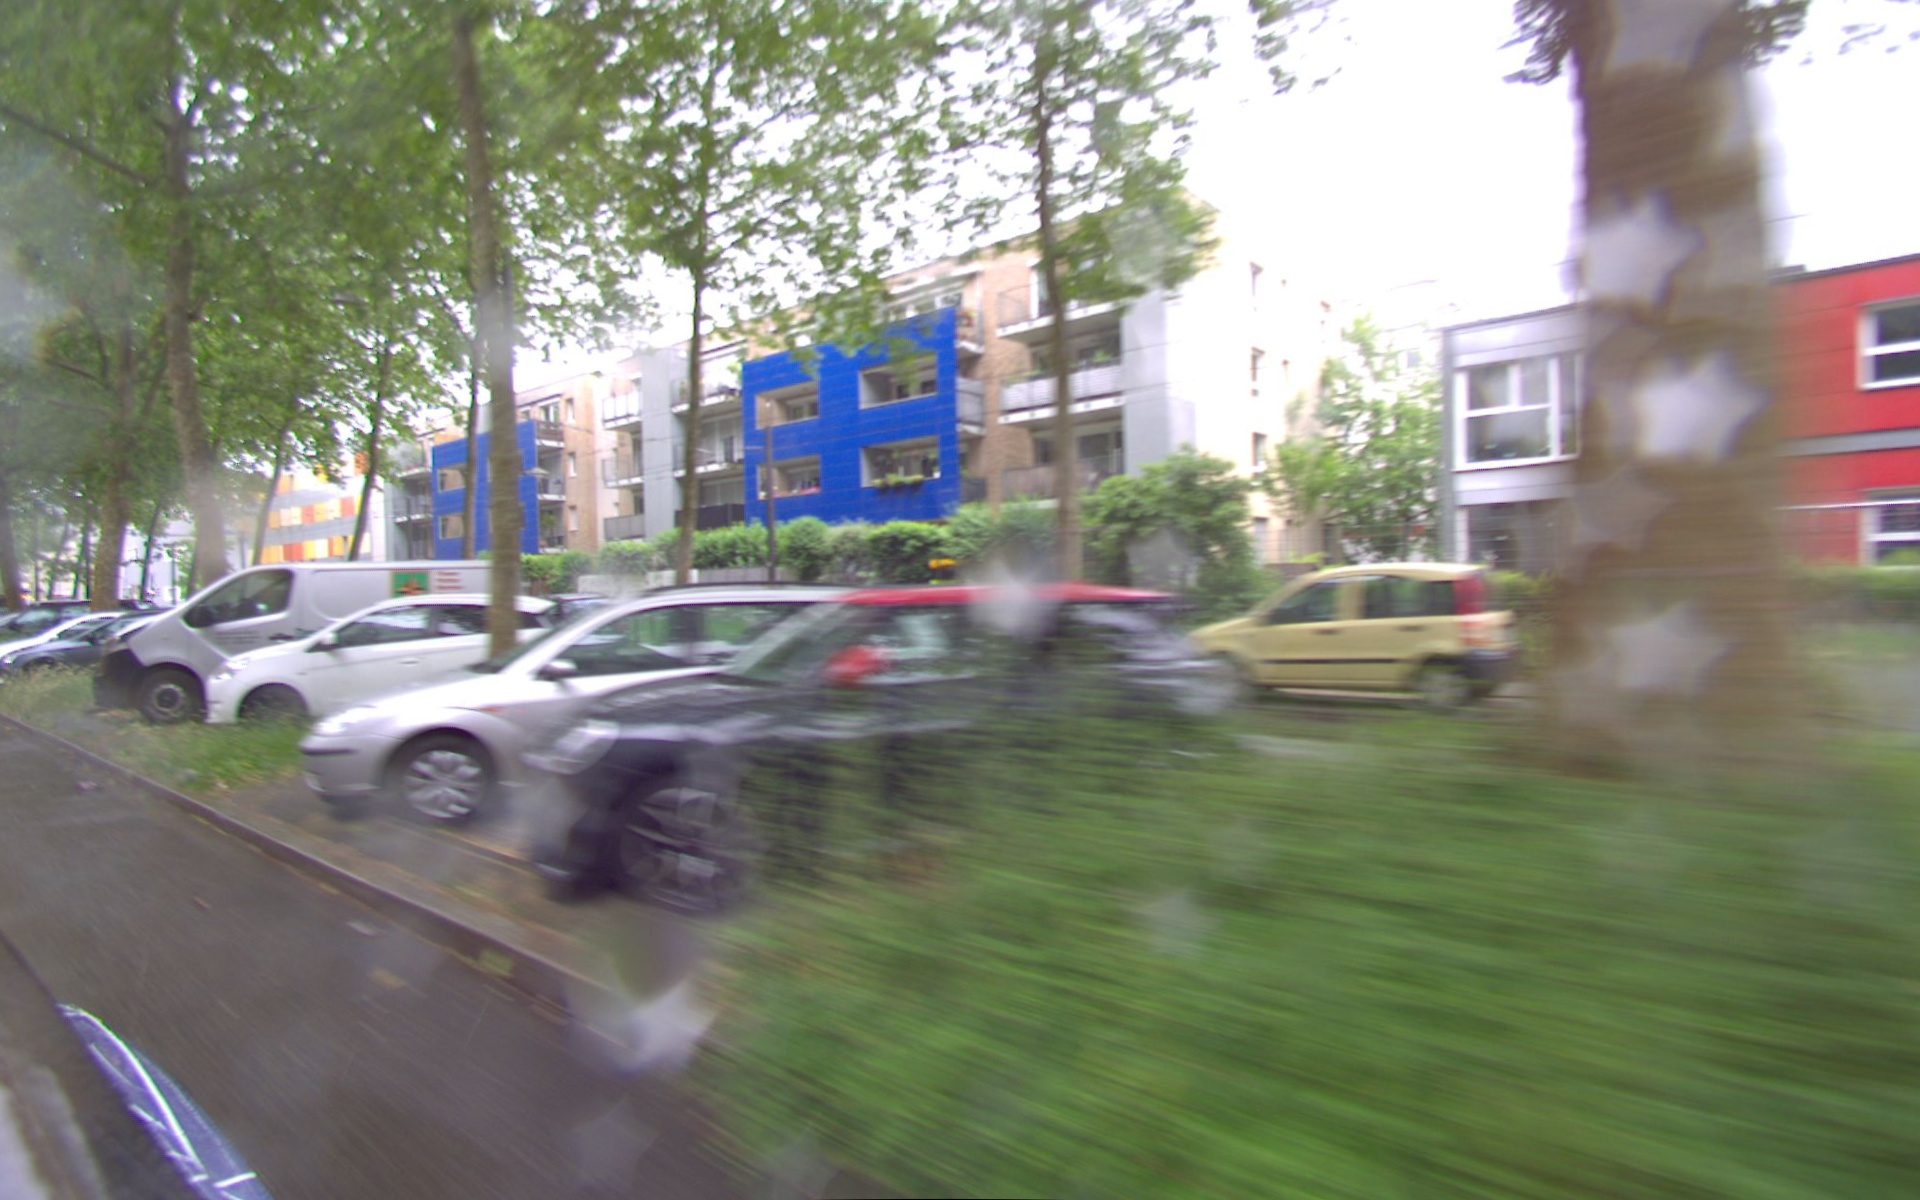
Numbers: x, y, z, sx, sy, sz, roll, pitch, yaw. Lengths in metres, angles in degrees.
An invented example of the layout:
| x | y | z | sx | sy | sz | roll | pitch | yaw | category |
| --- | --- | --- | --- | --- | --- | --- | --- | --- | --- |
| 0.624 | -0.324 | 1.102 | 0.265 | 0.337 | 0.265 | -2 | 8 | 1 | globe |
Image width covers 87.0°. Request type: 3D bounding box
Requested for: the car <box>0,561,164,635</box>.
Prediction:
| x | y | z | sx | sy | sz | roll | pitch | yaw | category |
| --- | --- | --- | --- | --- | --- | --- | --- | --- | --- |
| -22.210 | -0.042 | 24.389 | 4.342 | 1.672 | 1.936 | -2 | 1 | -22 | car |

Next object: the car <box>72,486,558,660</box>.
| x | y | z | sx | sy | sz | roll | pitch | yaw | category |
| --- | --- | --- | --- | --- | --- | --- | --- | --- | --- |
| -8.101 | -0.358 | 13.399 | 5.043 | 1.992 | 2.109 | -1 | 1 | -19 | car |

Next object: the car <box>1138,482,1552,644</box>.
| x | y | z | sx | sy | sz | roll | pitch | yaw | category |
| --- | --- | --- | --- | --- | --- | --- | --- | --- | --- |
| 4.284 | -0.388 | 11.554 | 3.998 | 1.519 | 1.973 | 0 | 2 | 41 | car |

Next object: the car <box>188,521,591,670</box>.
| x | y | z | sx | sy | sz | roll | pitch | yaw | category |
| --- | --- | --- | --- | --- | --- | --- | --- | --- | --- |
| -6.234 | -0.081 | 11.549 | 3.721 | 1.493 | 1.728 | -1 | 1 | -18 | car |

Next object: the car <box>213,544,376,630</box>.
| x | y | z | sx | sy | sz | roll | pitch | yaw | category |
| --- | --- | --- | --- | --- | --- | --- | --- | --- | --- |
| -17.524 | -0.347 | 26.553 | 5.022 | 2.028 | 1.975 | 0 | 3 | 38 | car |

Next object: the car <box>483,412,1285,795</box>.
| x | y | z | sx | sy | sz | roll | pitch | yaw | category |
| --- | --- | --- | --- | --- | --- | --- | --- | --- | --- |
| -0.386 | -0.025 | 5.458 | 3.752 | 1.532 | 1.728 | -1 | 1 | -18 | car |

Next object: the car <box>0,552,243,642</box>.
| x | y | z | sx | sy | sz | roll | pitch | yaw | category |
| --- | --- | --- | --- | --- | --- | --- | --- | --- | --- |
| -16.474 | -0.063 | 19.522 | 3.999 | 1.510 | 1.753 | -3 | 1 | -26 | car |

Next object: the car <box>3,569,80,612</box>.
| x | y | z | sx | sy | sz | roll | pitch | yaw | category |
| --- | --- | --- | --- | --- | --- | --- | --- | --- | --- |
| -47.067 | -0.482 | 51.839 | 5.152 | 2.014 | 2.019 | -1 | 2 | 38 | car |

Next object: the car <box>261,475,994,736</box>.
| x | y | z | sx | sy | sz | roll | pitch | yaw | category |
| --- | --- | --- | --- | --- | --- | --- | --- | --- | --- |
| -2.175 | -0.014 | 7.379 | 4.482 | 1.493 | 1.780 | -1 | 1 | -19 | car |

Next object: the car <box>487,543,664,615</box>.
| x | y | z | sx | sy | sz | roll | pitch | yaw | category |
| --- | --- | --- | --- | --- | --- | --- | --- | --- | --- |
| -8.727 | -0.423 | 22.858 | 3.987 | 1.431 | 1.975 | -1 | 0 | 38 | car |

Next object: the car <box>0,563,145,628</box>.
| x | y | z | sx | sy | sz | roll | pitch | yaw | category |
| --- | --- | --- | --- | --- | --- | --- | --- | --- | --- |
| -24.414 | -0.117 | 26.532 | 4.342 | 1.658 | 1.878 | 0 | 0 | -18 | car |

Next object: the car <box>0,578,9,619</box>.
| x | y | z | sx | sy | sz | roll | pitch | yaw | category |
| --- | --- | --- | --- | --- | --- | --- | --- | --- | --- |
| -37.762 | 0.048 | 36.951 | 3.995 | 1.549 | 1.841 | -3 | 2 | -24 | car |

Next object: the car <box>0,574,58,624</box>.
| x | y | z | sx | sy | sz | roll | pitch | yaw | category |
| --- | --- | --- | --- | --- | --- | --- | --- | --- | --- |
| -30.300 | 0.051 | 30.550 | 4.158 | 1.490 | 1.749 | -3 | 2 | -22 | car |

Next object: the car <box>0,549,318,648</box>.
| x | y | z | sx | sy | sz | roll | pitch | yaw | category |
| --- | --- | --- | --- | --- | --- | --- | --- | --- | --- |
| -13.899 | -0.056 | 17.686 | 4.242 | 1.447 | 1.753 | -3 | 1 | -23 | car |

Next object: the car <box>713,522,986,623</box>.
| x | y | z | sx | sy | sz | roll | pitch | yaw | category |
| --- | --- | --- | --- | --- | --- | --- | --- | --- | --- |
| -1.882 | -0.392 | 16.561 | 4.266 | 1.431 | 1.975 | -1 | 1 | 38 | car |

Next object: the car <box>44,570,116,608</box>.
| x | y | z | sx | sy | sz | roll | pitch | yaw | category |
| --- | --- | --- | --- | --- | --- | --- | --- | --- | --- |
| -52.654 | -0.660 | 60.525 | 5.425 | 2.011 | 2.035 | -1 | 3 | 37 | car |
